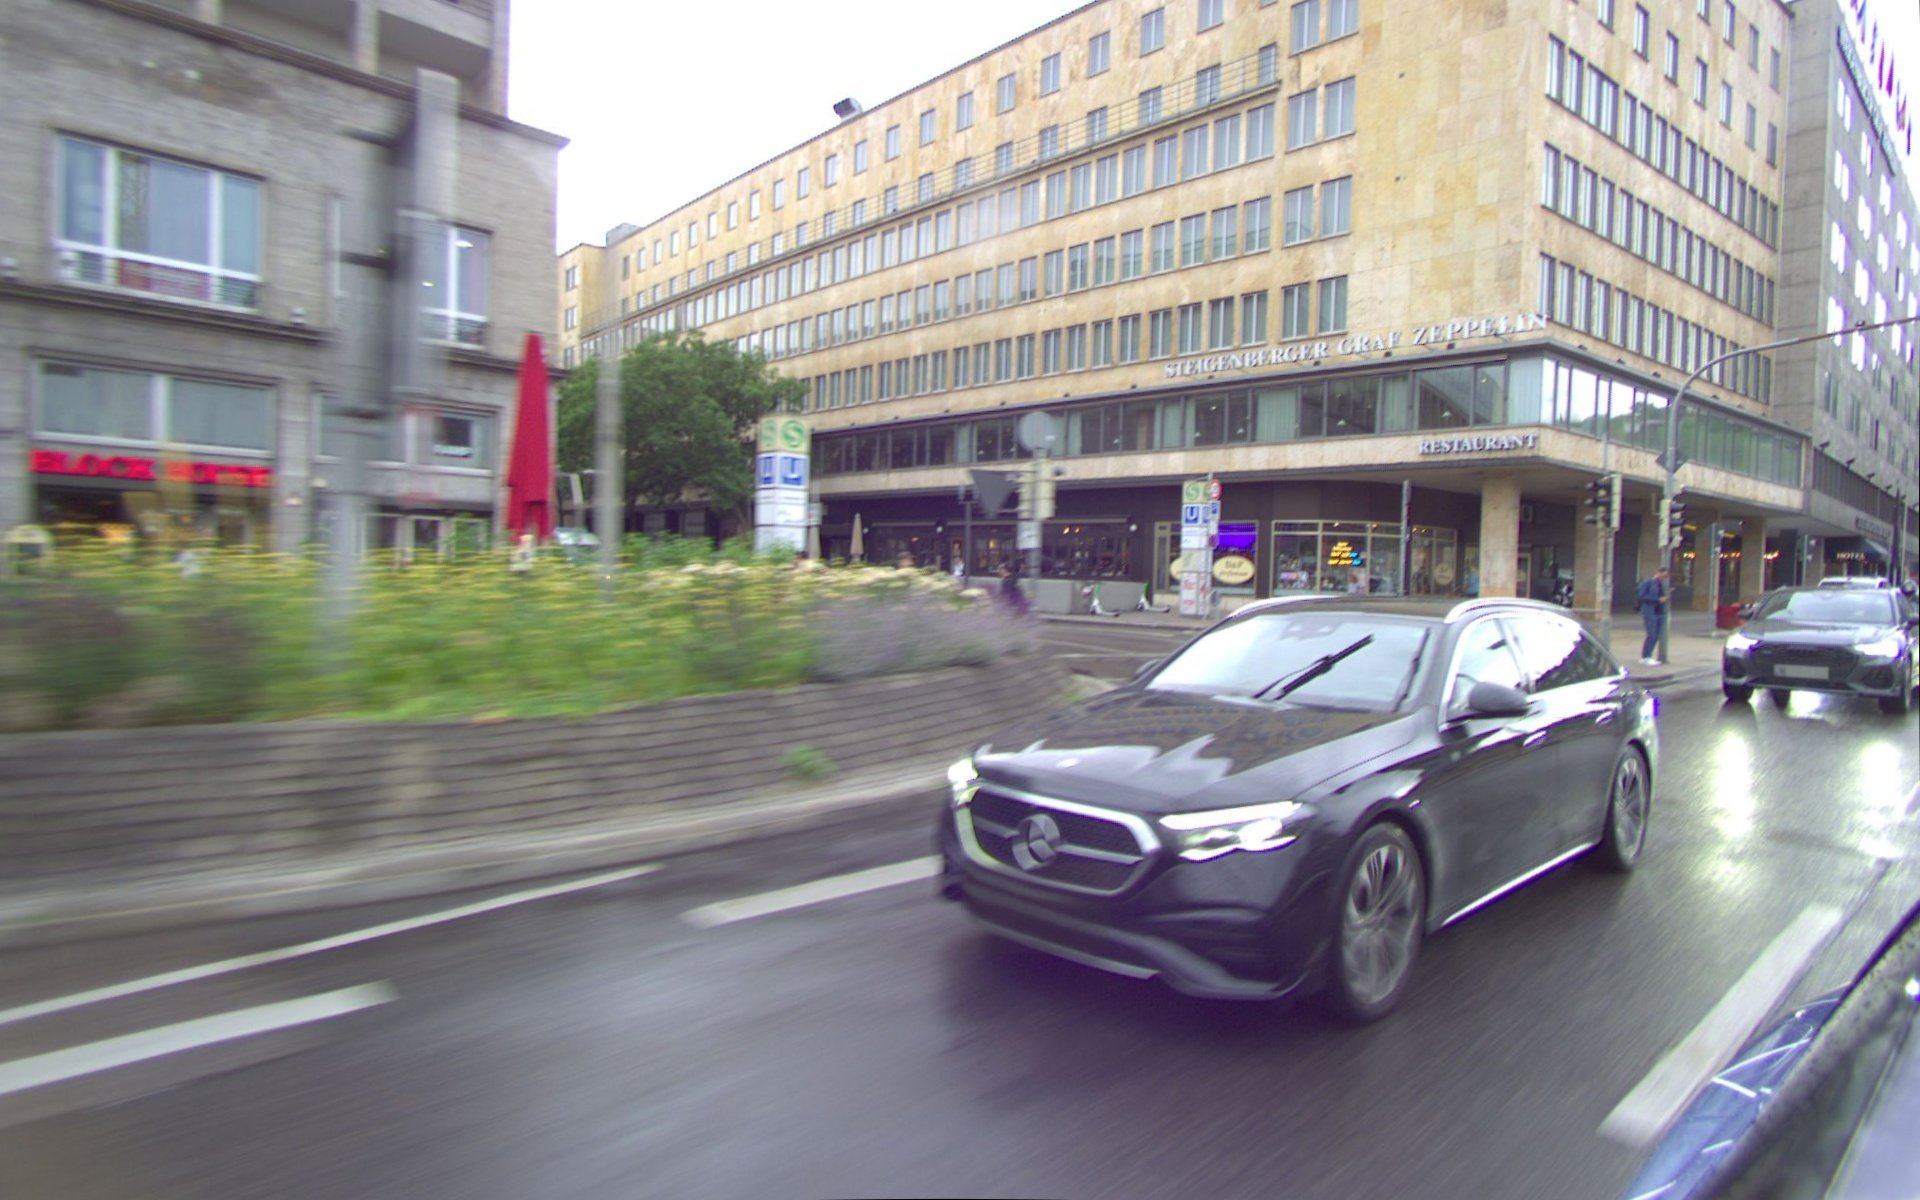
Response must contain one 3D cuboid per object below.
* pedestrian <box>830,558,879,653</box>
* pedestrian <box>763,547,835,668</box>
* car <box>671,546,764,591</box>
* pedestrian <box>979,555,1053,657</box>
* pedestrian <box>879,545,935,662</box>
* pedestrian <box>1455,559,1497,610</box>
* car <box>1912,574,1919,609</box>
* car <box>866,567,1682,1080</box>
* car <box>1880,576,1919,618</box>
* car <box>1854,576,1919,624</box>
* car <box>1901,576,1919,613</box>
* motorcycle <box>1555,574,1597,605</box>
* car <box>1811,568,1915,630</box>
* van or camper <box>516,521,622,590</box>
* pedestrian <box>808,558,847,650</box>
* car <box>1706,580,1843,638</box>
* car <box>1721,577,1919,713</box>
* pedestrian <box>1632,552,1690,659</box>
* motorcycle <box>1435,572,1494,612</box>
[{"bbox_3d":[-1.768,0.087,16.912,0.580,1.548,0.556,0,1,-38],"label":"pedestrian"},{"bbox_3d":[-2.449,0.103,15.413,0.823,1.773,0.698,0,1,-44],"label":"pedestrian"},{"bbox_3d":[-11.182,-1.456,46.441,1.965,1.950,5.158,1,1,-42],"label":"car"},{"bbox_3d":[1.019,0.089,18.335,0.968,1.784,0.894,0,1,-39],"label":"pedestrian"},{"bbox_3d":[-0.834,0.047,16.005,0.669,1.812,0.536,0,1,-38],"label":"pedestrian"},{"bbox_3d":[19.461,-0.588,38.173,1.089,1.869,1.001,0,2,-39],"label":"pedestrian"},{"bbox_3d":[48.133,-0.383,49.377,4.833,1.635,1.997,0,2,-41],"label":"car"},{"bbox_3d":[1.933,0.619,5.155,4.618,1.482,1.821,0,2,-41],"label":"car"},{"bbox_3d":[39.626,-0.111,41.740,4.480,1.656,1.997,0,2,-41],"label":"car"},{"bbox_3d":[35.208,-0.013,37.870,5.045,1.674,1.997,0,2,-41],"label":"car"},{"bbox_3d":[44.114,-0.242,45.615,4.791,1.629,1.997,0,2,-41],"label":"car"},{"bbox_3d":[25.364,-0.431,41.635,2.492,1.246,0.730,0,2,-41],"label":"motorcycle"},{"bbox_3d":[30.269,-0.072,33.879,4.910,1.908,1.997,0,2,-41],"label":"car"},{"bbox_3d":[-16.529,-1.836,42.579,2.451,2.673,6.006,0,2,-39],"label":"van or camper"},{"bbox_3d":[-2.289,0.065,17.450,0.504,1.565,0.425,0,1,-38],"label":"pedestrian"},{"bbox_3d":[22.527,0.212,27.948,4.404,1.431,2.193,0,2,-41],"label":"car"},{"bbox_3d":[11.938,0.491,13.653,4.092,1.526,1.875,0,2,-41],"label":"car"},{"bbox_3d":[13.026,0.092,18.797,0.779,1.943,0.674,0,1,-41],"label":"pedestrian"},{"bbox_3d":[19.196,-0.307,38.476,2.801,1.471,0.964,0,2,-41],"label":"motorcycle"}]
